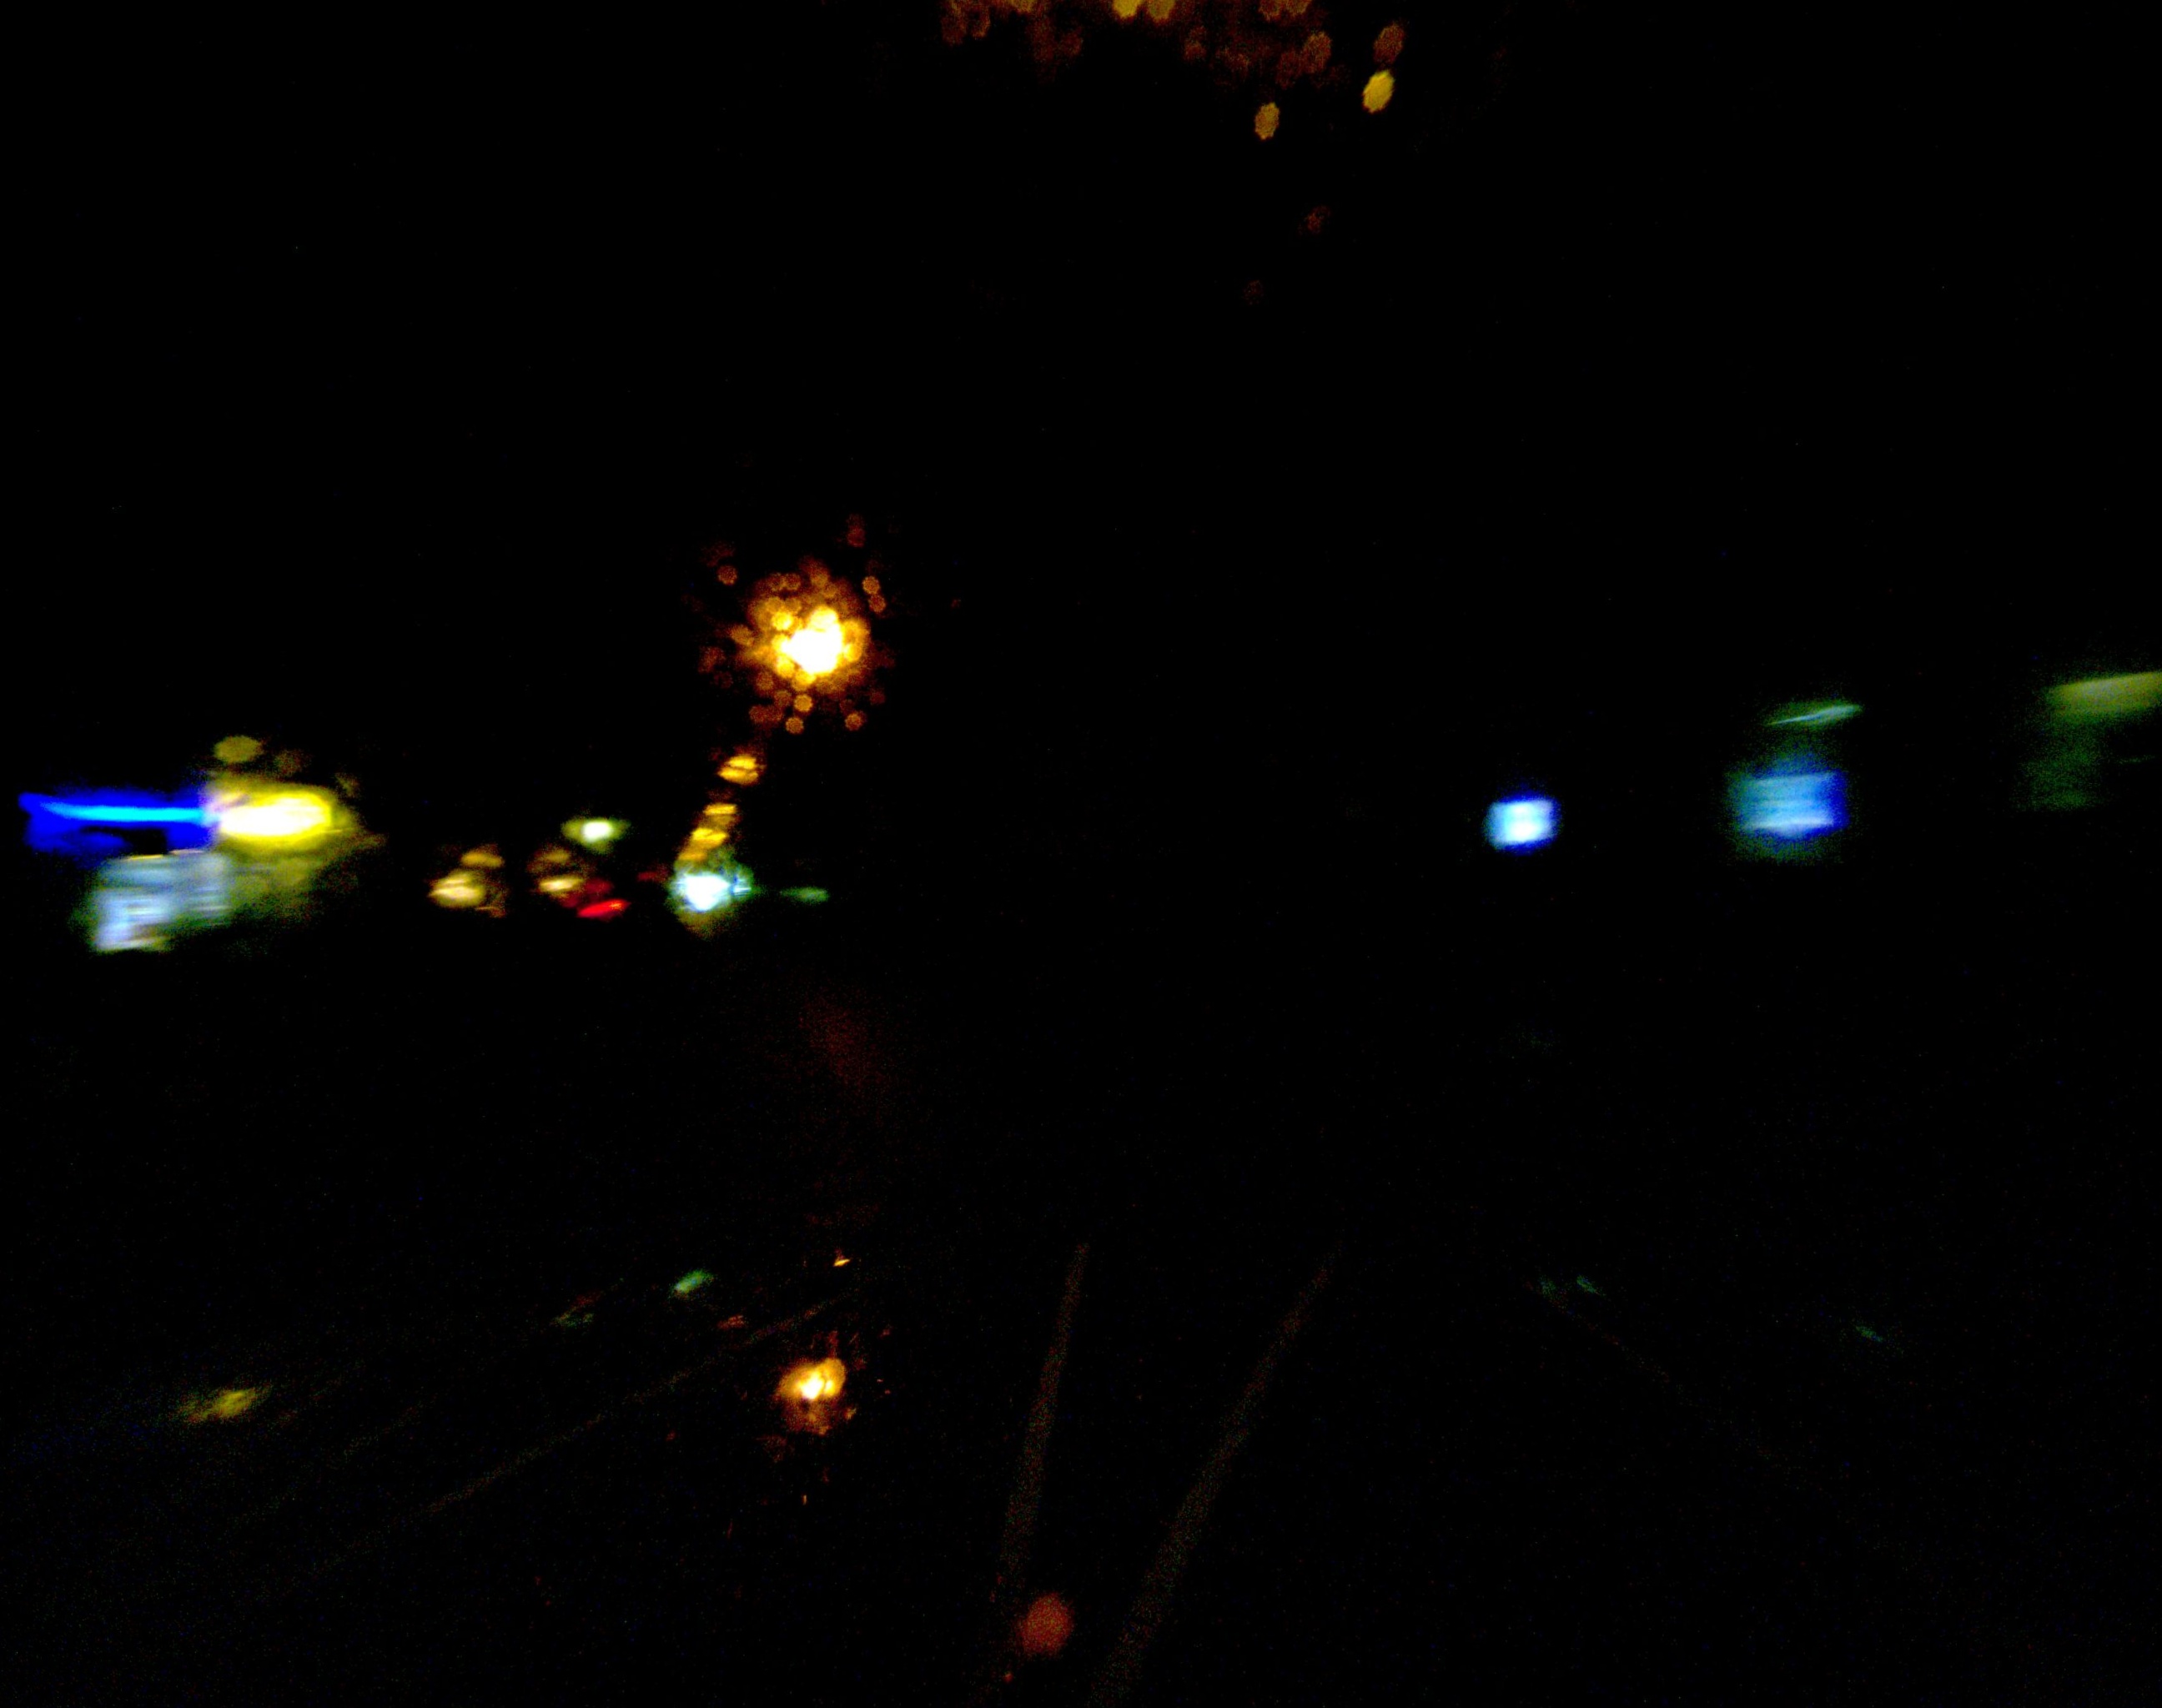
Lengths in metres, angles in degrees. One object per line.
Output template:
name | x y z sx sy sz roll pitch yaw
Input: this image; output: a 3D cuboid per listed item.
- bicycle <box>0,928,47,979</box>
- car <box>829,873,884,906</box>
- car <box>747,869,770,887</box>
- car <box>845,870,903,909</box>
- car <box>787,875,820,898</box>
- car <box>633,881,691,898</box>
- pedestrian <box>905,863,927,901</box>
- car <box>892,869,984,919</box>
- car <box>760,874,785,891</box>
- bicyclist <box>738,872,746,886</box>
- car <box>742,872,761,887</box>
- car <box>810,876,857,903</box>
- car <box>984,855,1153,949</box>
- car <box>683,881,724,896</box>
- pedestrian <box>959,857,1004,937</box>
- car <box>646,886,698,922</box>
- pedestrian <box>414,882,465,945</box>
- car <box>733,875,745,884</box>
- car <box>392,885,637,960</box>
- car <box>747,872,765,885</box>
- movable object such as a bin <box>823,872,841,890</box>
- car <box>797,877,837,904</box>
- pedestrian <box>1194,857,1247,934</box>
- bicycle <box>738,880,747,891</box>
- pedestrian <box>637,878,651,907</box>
bicycle | -26.114 2.451 18.147 0.703 1.109 1.980 -5 2 -23
car | -11.624 1.794 39.141 1.841 1.472 4.298 -3 0 -27
car | -36.494 2.691 85.890 2.005 1.818 5.196 -3 0 -27
car | -9.547 1.588 34.862 1.753 1.579 3.758 -3 0 -27
car | -20.034 2.288 54.721 1.679 1.482 3.714 -4 1 -28
car | -37.593 3.185 68.289 4.534 1.521 1.776 1 -2 -28
pedestrian | -8.050 1.344 37.083 0.746 1.794 0.984 -5 2 -24
car | -5.091 1.323 26.466 1.841 1.477 4.585 -3 0 -27
car | -30.430 2.795 74.897 1.775 1.474 4.762 -6 1 -27
bicyclist | -37.090 2.755 83.140 0.721 1.547 0.893 -2 0 -28
car | -43.203 3.318 99.508 1.911 1.818 4.819 -3 0 -27
car | -14.269 2.008 43.702 1.830 1.381 4.416 -3 0 -28
car | -0.460 0.973 16.878 1.841 1.707 4.585 -3 0 -27
car | -45.537 4.143 91.669 3.994 1.368 1.754 -4 2 11
pedestrian | -2.553 1.083 19.469 0.771 1.962 0.656 -6 2 -34
car | -18.741 2.226 34.821 1.926 1.403 3.992 -2 0 -28
pedestrian | -18.919 1.723 22.440 0.866 1.777 1.081 -1 -2 -24
car | -56.721 4.211 125.881 1.700 1.470 3.378 -3 -1 -23
car | -14.158 1.677 19.306 4.576 1.608 1.925 -1 -1 -13
car | -38.723 2.877 90.493 1.576 1.451 3.712 -3 0 -27
movable object such as a bin | -20.426 2.194 62.378 1.106 1.445 1.376 -2 0 -29
car | -16.933 2.300 48.592 1.782 1.563 4.126 -3 0 -28
pedestrian | 2.957 0.873 16.159 0.659 1.543 0.761 -6 2 -42
bicycle | -37.081 3.440 83.253 0.731 1.066 2.343 -2 0 -28
pedestrian | -27.855 2.442 48.406 0.706 1.777 0.623 -1 -2 -24
